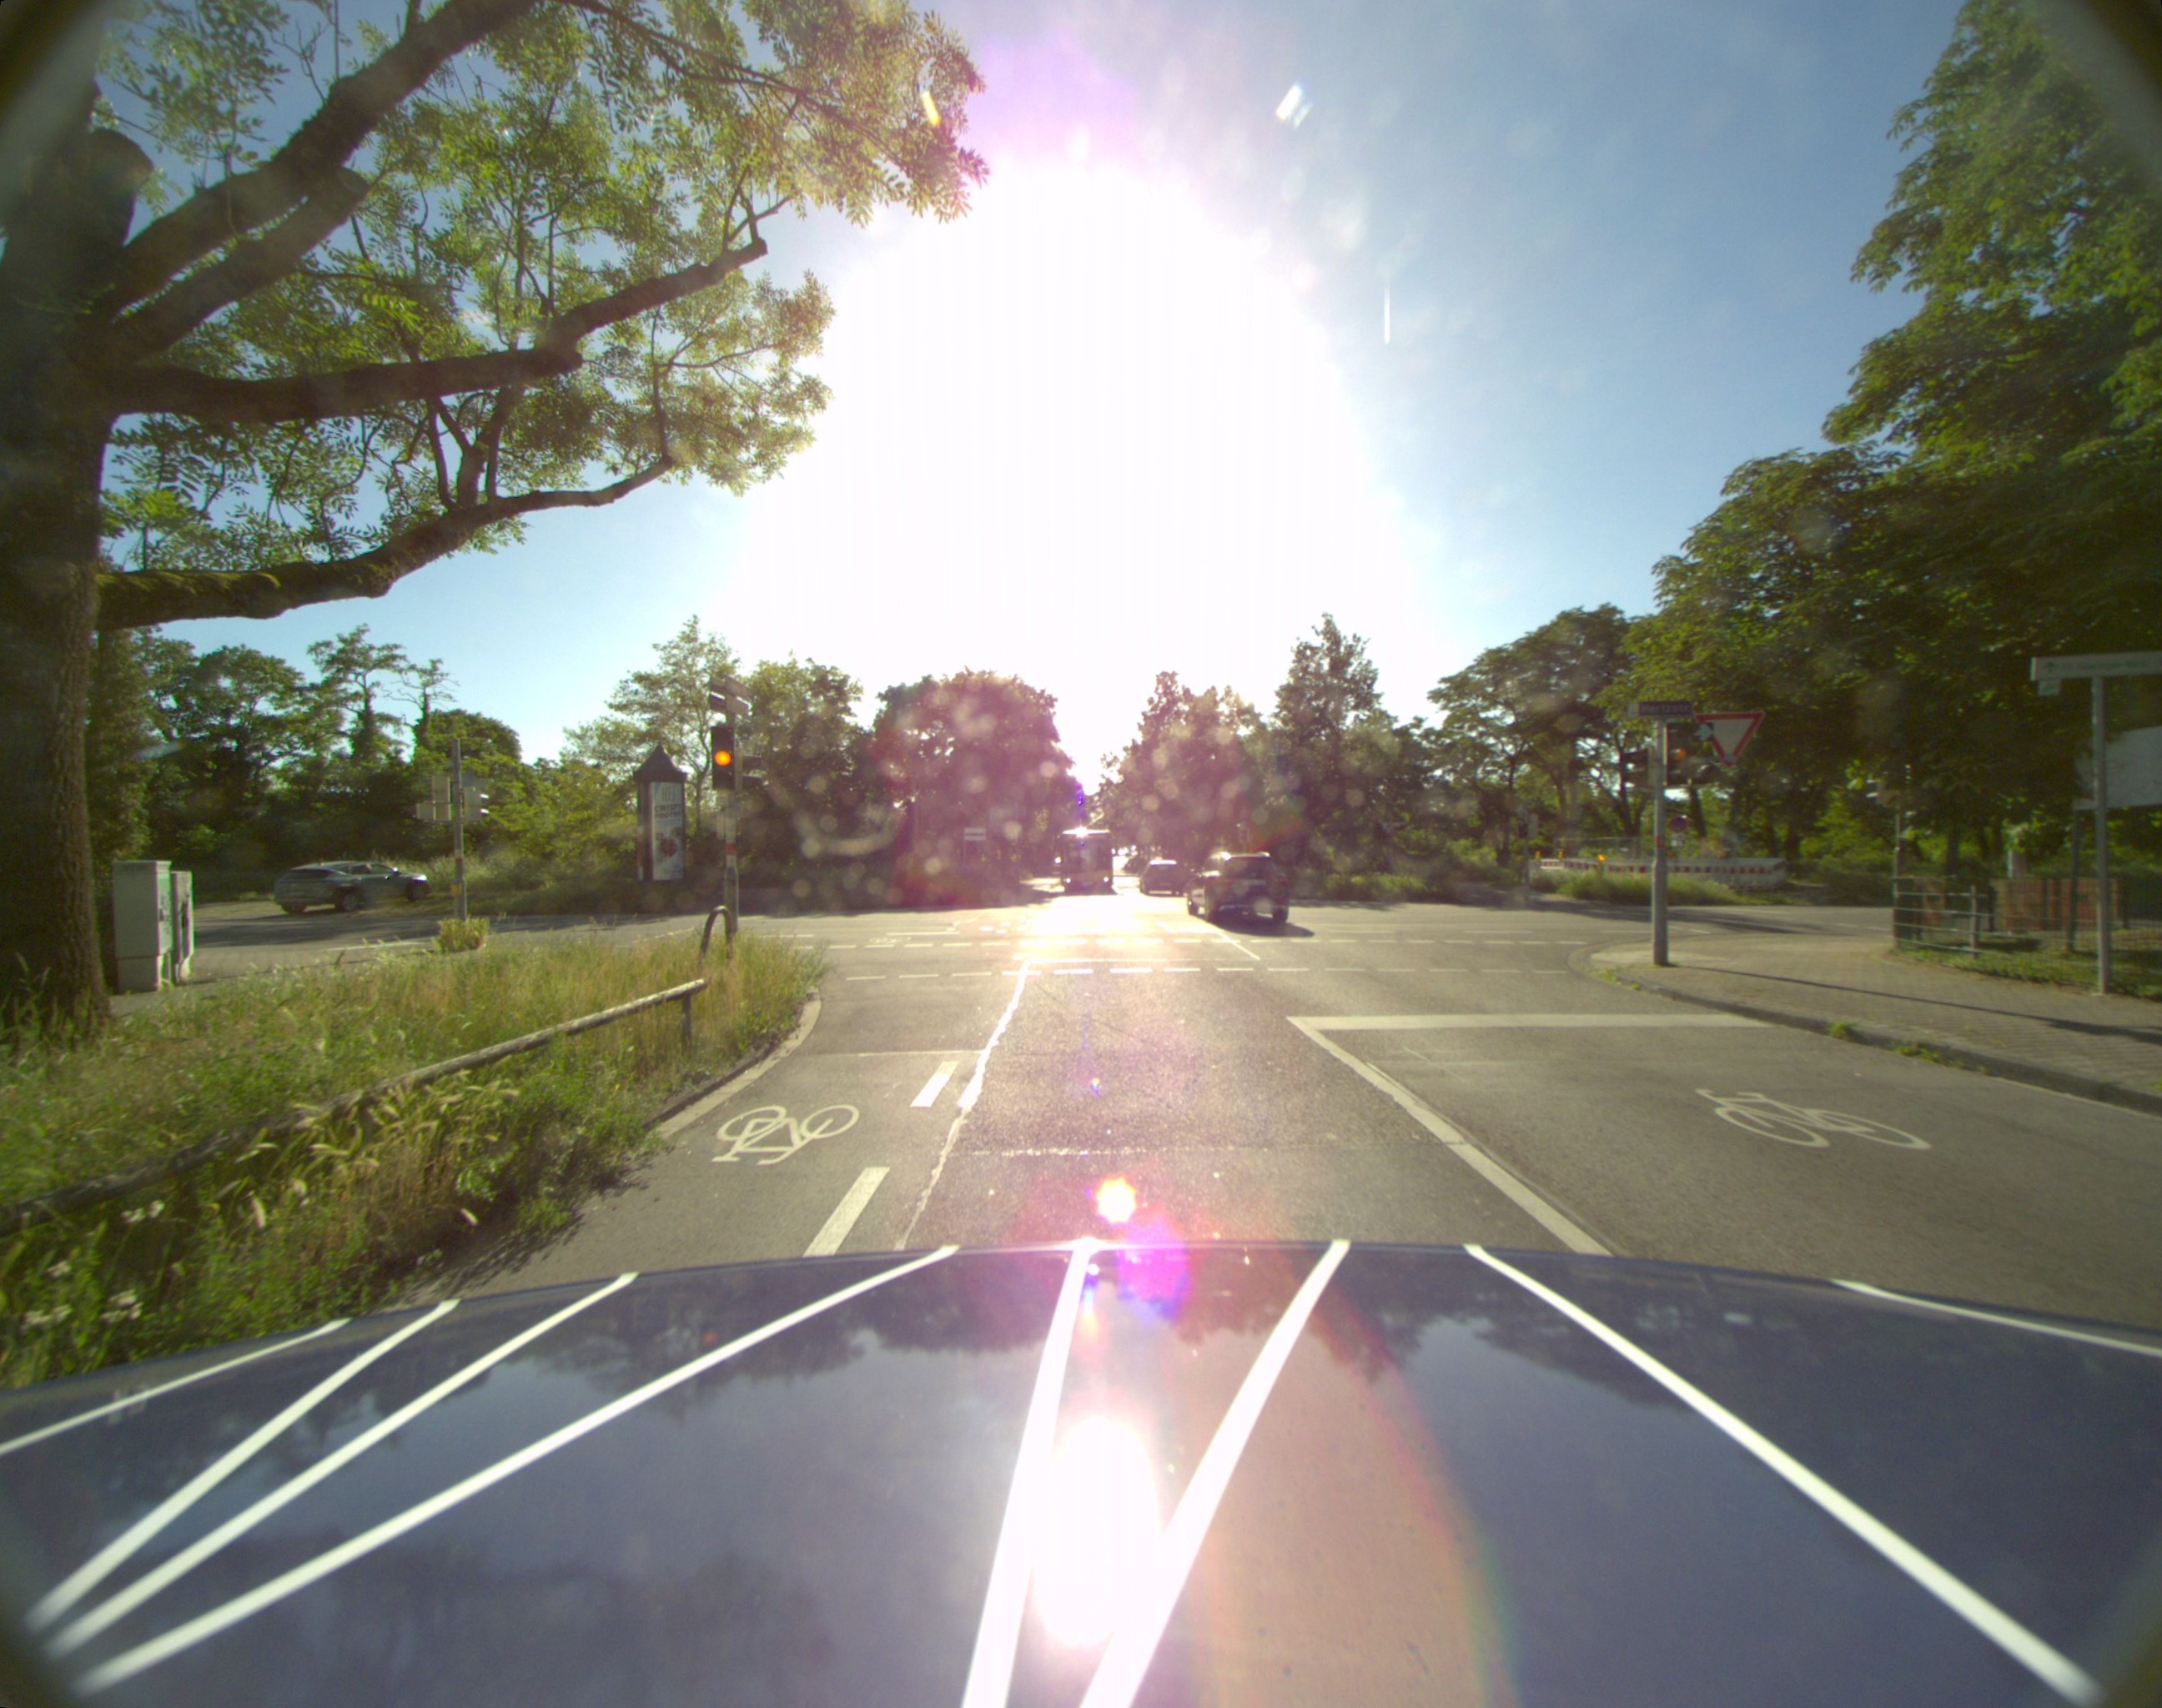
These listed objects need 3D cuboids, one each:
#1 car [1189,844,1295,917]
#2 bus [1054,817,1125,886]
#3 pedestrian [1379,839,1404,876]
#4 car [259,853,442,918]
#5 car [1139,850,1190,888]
[{"bbox_3d":[3.861,0.562,18.959,1.819,1.608,4.392,0,1,2],"label":"car"},{"bbox_3d":[0.564,-0.128,41.379,3.128,3.080,12.480,-3,0,1],"label":"bus"},{"bbox_3d":[14.032,0.150,34.313,0.800,1.624,0.647,-3,1,1],"label":"pedestrian"},{"bbox_3d":[-24.488,0.982,25.751,1.868,1.642,4.444,-3,4,-3],"label":"car"},{"bbox_3d":[3.593,0.596,33.259,1.810,1.447,3.849,0,2,0],"label":"car"}]
